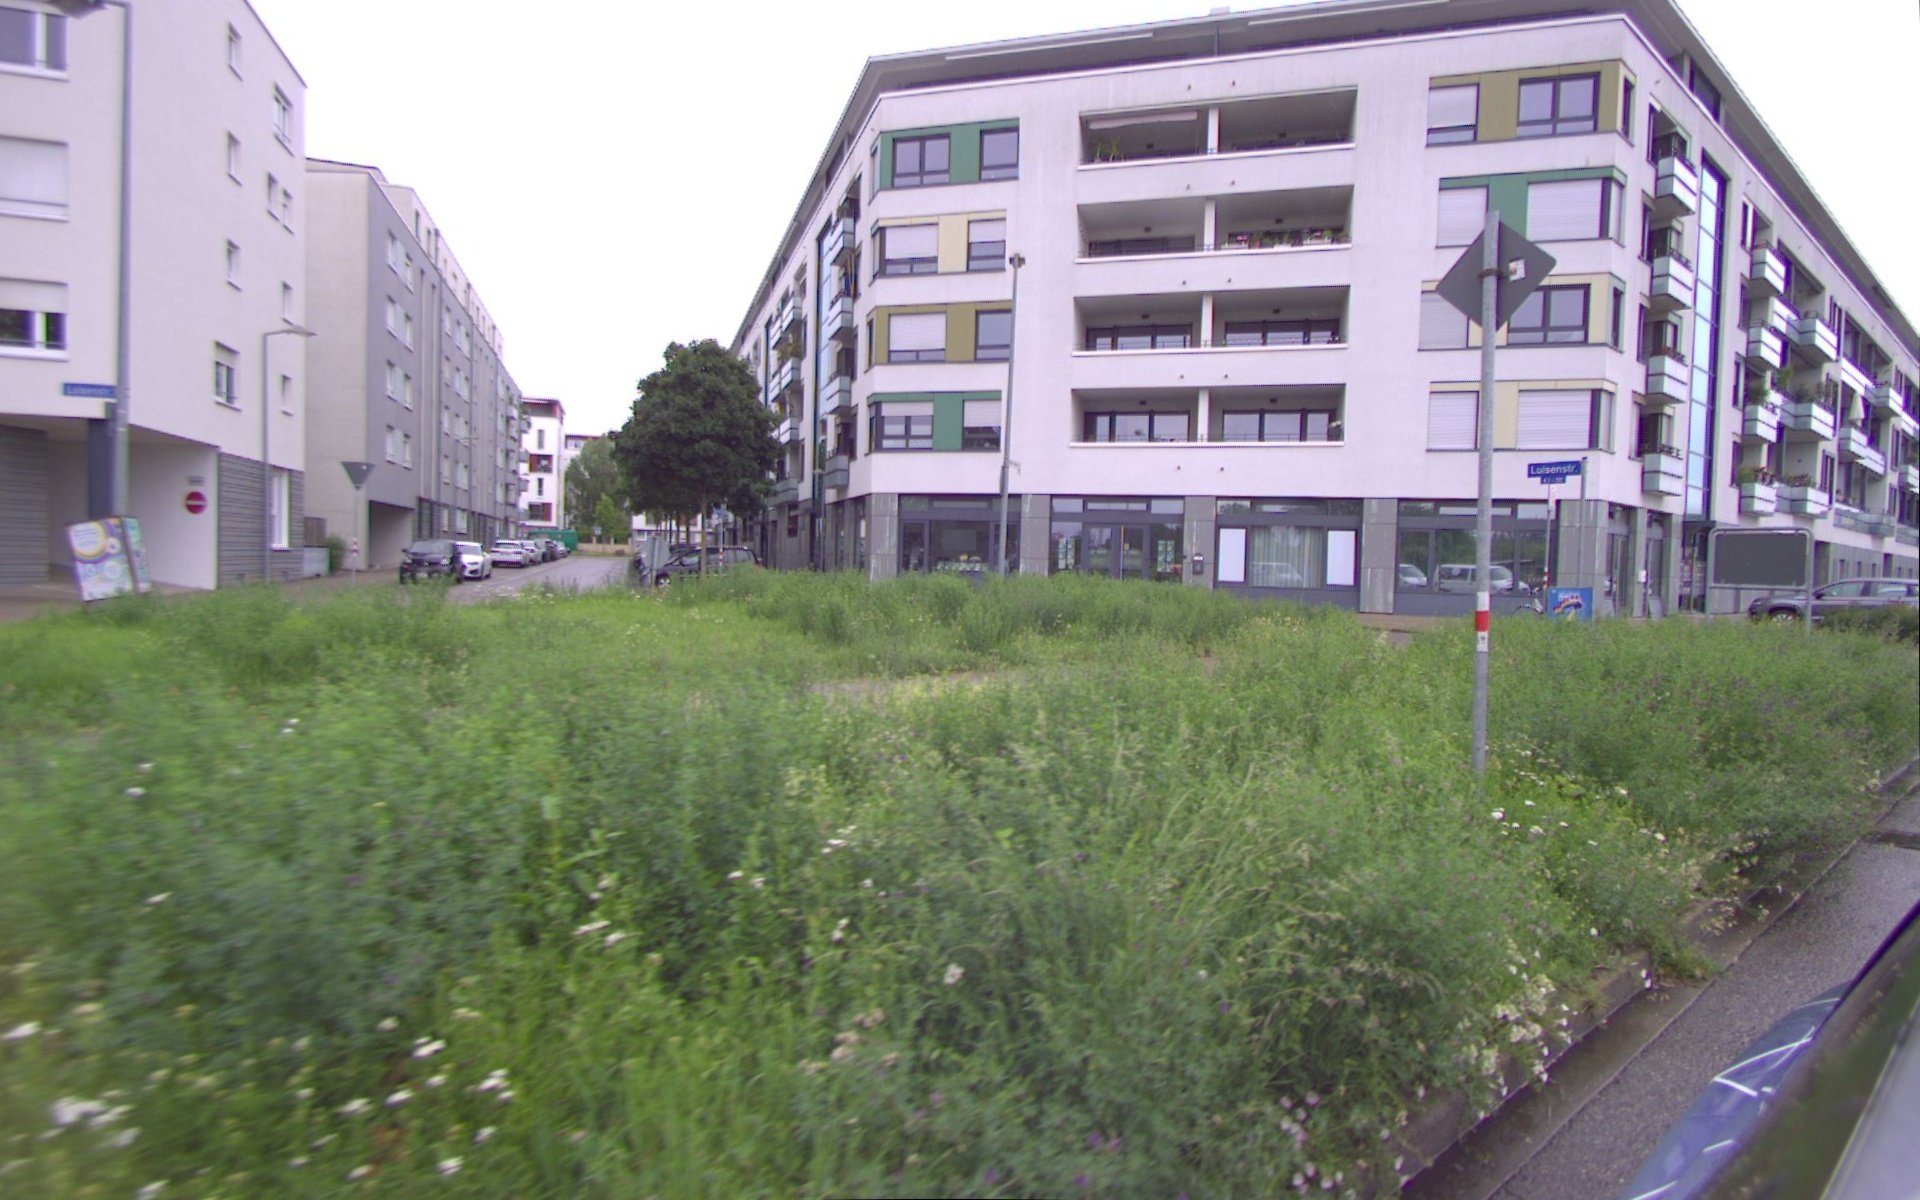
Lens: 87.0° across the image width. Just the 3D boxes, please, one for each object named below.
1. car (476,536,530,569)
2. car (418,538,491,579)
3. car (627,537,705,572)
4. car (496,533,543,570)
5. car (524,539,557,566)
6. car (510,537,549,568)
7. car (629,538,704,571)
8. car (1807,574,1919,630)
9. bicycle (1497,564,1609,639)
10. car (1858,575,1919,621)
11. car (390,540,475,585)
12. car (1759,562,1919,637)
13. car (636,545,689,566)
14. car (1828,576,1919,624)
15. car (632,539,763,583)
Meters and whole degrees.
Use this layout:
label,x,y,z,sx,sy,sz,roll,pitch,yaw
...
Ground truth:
label,x,y,z,sx,sy,sz,roll,pitch,yaw
car,-24.963,-2.591,55.434,1.958,1.705,4.432,1,2,-14
car,-19.523,-1.598,39.240,1.958,1.449,4.476,1,2,-19
car,-16.029,-2.461,55.141,4.016,1.775,1.818,1,2,-18
car,-27.191,-2.978,62.612,1.958,2.123,5.004,1,2,-16
car,-33.486,-3.762,80.930,2.091,2.038,5.420,1,2,-19
car,-29.937,-3.273,70.452,1.958,2.038,5.480,1,2,-18
car,-16.682,-2.574,57.590,4.016,1.775,1.818,1,2,-18
car,27.179,0.093,28.791,1.877,1.421,4.420,-1,5,-40
bicycle,13.105,-0.002,22.452,0.617,1.541,2.200,1,3,-20
car,34.303,-0.010,35.361,2.021,1.514,4.072,0,4,-39
car,-18.179,-1.314,35.023,1.958,1.432,3.836,1,2,-17
car,23.304,-0.029,25.911,1.932,1.642,4.099,-1,5,-41
car,-23.905,-3.539,81.236,4.016,1.564,1.818,1,2,-18
car,32.363,0.030,34.460,1.846,1.497,3.996,0,4,-41
car,-9.401,-1.393,36.240,4.428,1.450,1.818,1,2,-18
